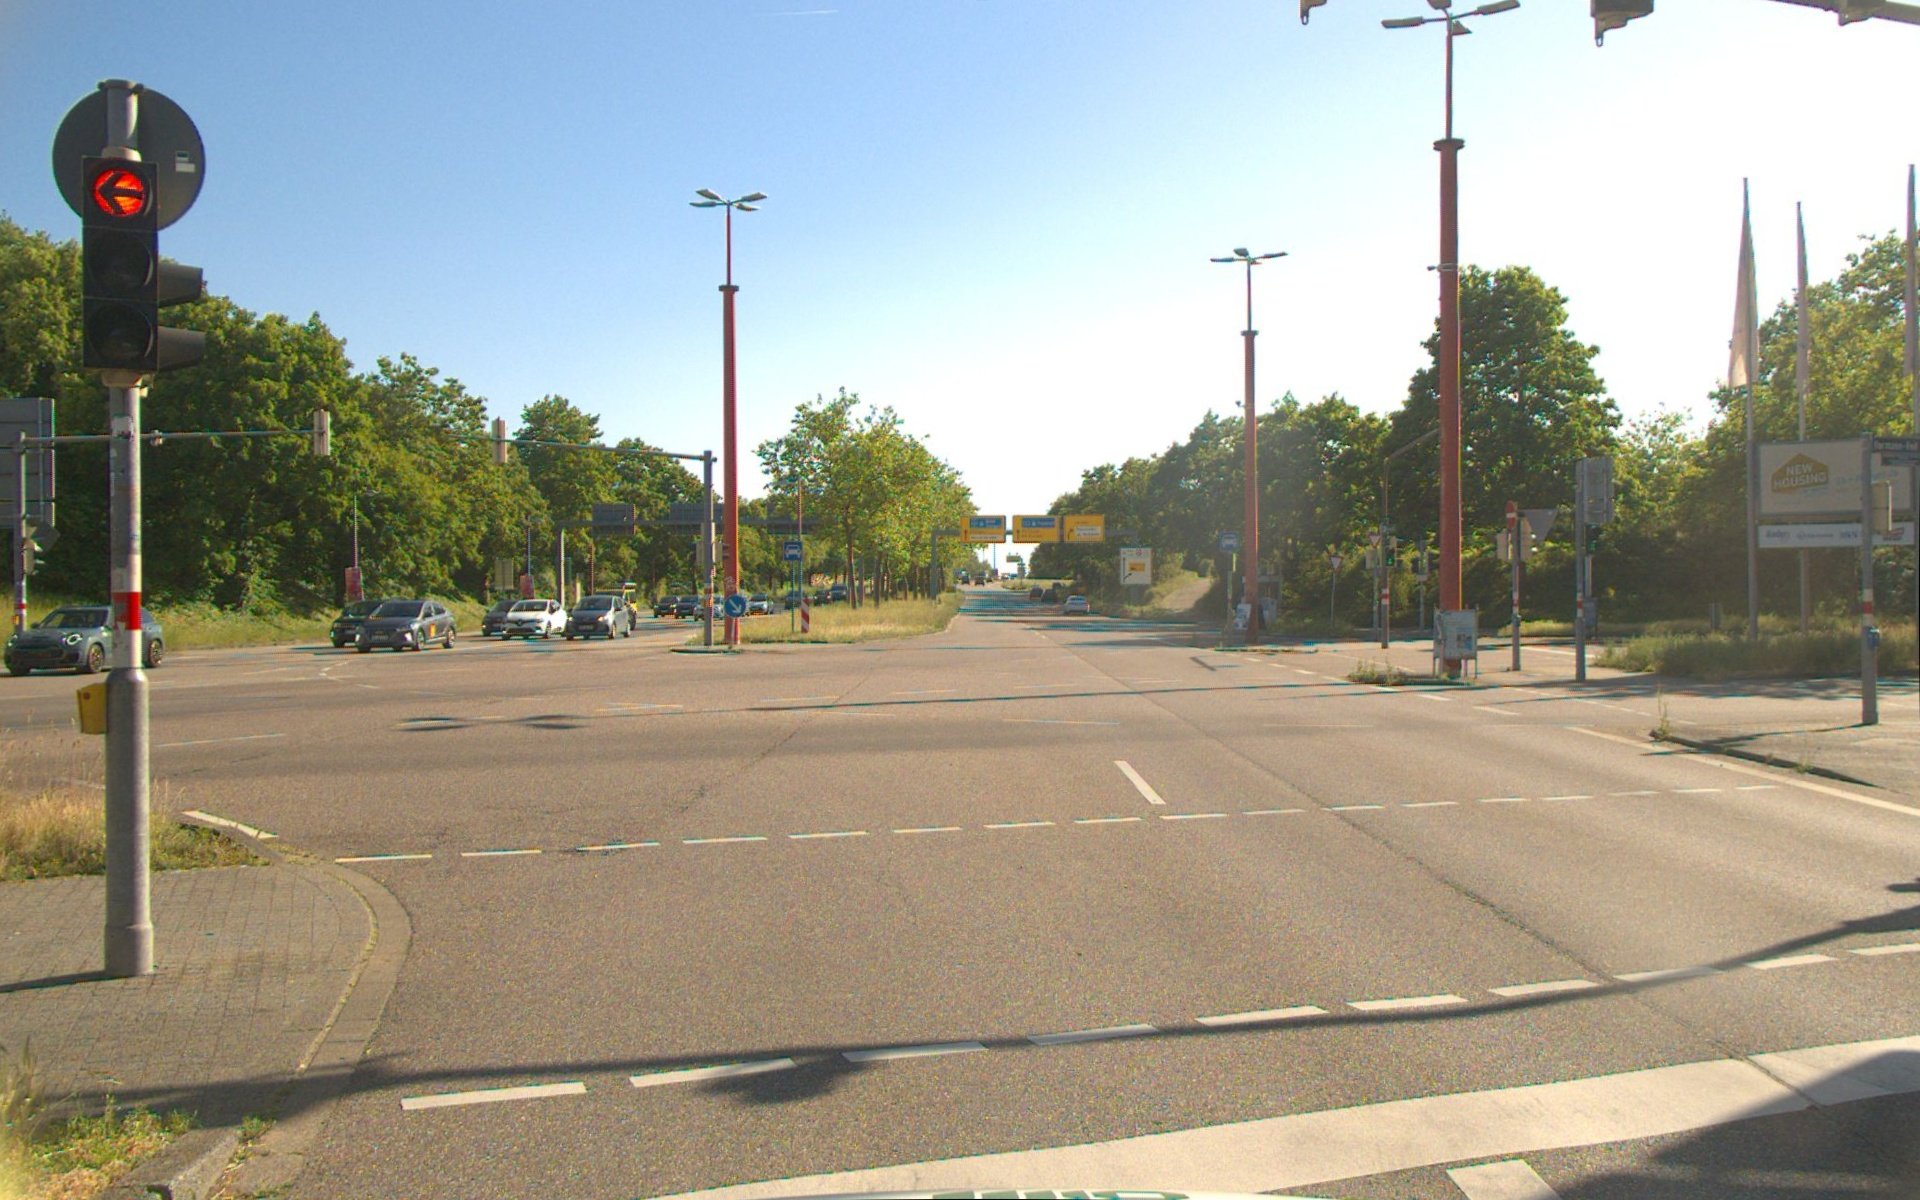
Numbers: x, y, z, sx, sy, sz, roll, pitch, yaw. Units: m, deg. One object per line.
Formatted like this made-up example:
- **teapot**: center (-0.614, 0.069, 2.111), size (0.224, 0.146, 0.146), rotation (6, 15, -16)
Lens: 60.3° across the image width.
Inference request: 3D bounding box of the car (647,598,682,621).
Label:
- **car**: center (-22.433, 0.703, 125.594), size (1.953, 1.667, 3.999), rotation (1, 0, -1)

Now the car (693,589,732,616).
- **car**: center (-15.021, 0.166, 100.578), size (1.668, 1.624, 4.001), rotation (1, 0, 2)

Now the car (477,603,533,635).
- **car**: center (-19.110, 0.787, 69.590), size (1.424, 1.296, 3.612), rotation (1, 0, -1)

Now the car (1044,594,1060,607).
- **car**: center (10.338, 0.035, 186.031), size (1.702, 1.365, 3.082), rotation (0, 0, 1)

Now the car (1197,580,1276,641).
- **car**: center (9.061, 0.321, 53.957), size (1.952, 1.920, 4.002), rotation (0, 0, 18)

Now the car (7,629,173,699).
- **car**: center (-19.260, 1.383, 36.819), size (1.400, 1.412, 4.140), rotation (1, 0, 2)

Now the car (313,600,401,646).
- **car**: center (-20.423, 0.762, 56.158), size (1.512, 1.458, 3.886), rotation (-1, 0, 1)

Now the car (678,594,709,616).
- **car**: center (-18.542, 0.374, 115.277), size (1.595, 1.476, 3.434), rotation (1, 0, 0)

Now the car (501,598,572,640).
- **car**: center (-15.706, 0.674, 61.480), size (1.572, 1.485, 3.951), rotation (0, 0, 1)

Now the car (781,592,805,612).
- **car**: center (-14.757, 0.159, 146.112), size (1.592, 1.769, 4.001), rotation (0, 0, 1)

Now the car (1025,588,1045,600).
- **car**: center (9.507, -0.744, 209.804), size (1.955, 1.523, 3.994), rotation (0, 0, -6)

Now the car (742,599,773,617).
- **car**: center (-15.199, 0.588, 124.209), size (1.963, 1.330, 3.998), rotation (0, 0, -2)

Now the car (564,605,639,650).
- **car**: center (-12.508, 0.947, 57.908), size (1.666, 1.446, 4.000), rotation (3, 0, 1)

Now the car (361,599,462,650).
- **car**: center (-15.928, 0.680, 48.228), size (1.516, 1.401, 4.262), rotation (0, 0, 0)

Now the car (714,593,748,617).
- **car**: center (-15.546, 0.361, 112.234), size (1.668, 1.586, 3.804), rotation (1, 0, 1)

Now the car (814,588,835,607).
- **car**: center (-13.366, -0.244, 163.442), size (1.622, 1.778, 4.001), rotation (1, 0, 2)

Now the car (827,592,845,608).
- **car**: center (-13.857, -0.021, 184.661), size (1.574, 1.761, 3.789), rotation (1, 0, 1)

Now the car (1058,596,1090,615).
- **car**: center (8.812, 0.399, 128.186), size (2.013, 1.395, 4.389), rotation (0, 0, -3)
